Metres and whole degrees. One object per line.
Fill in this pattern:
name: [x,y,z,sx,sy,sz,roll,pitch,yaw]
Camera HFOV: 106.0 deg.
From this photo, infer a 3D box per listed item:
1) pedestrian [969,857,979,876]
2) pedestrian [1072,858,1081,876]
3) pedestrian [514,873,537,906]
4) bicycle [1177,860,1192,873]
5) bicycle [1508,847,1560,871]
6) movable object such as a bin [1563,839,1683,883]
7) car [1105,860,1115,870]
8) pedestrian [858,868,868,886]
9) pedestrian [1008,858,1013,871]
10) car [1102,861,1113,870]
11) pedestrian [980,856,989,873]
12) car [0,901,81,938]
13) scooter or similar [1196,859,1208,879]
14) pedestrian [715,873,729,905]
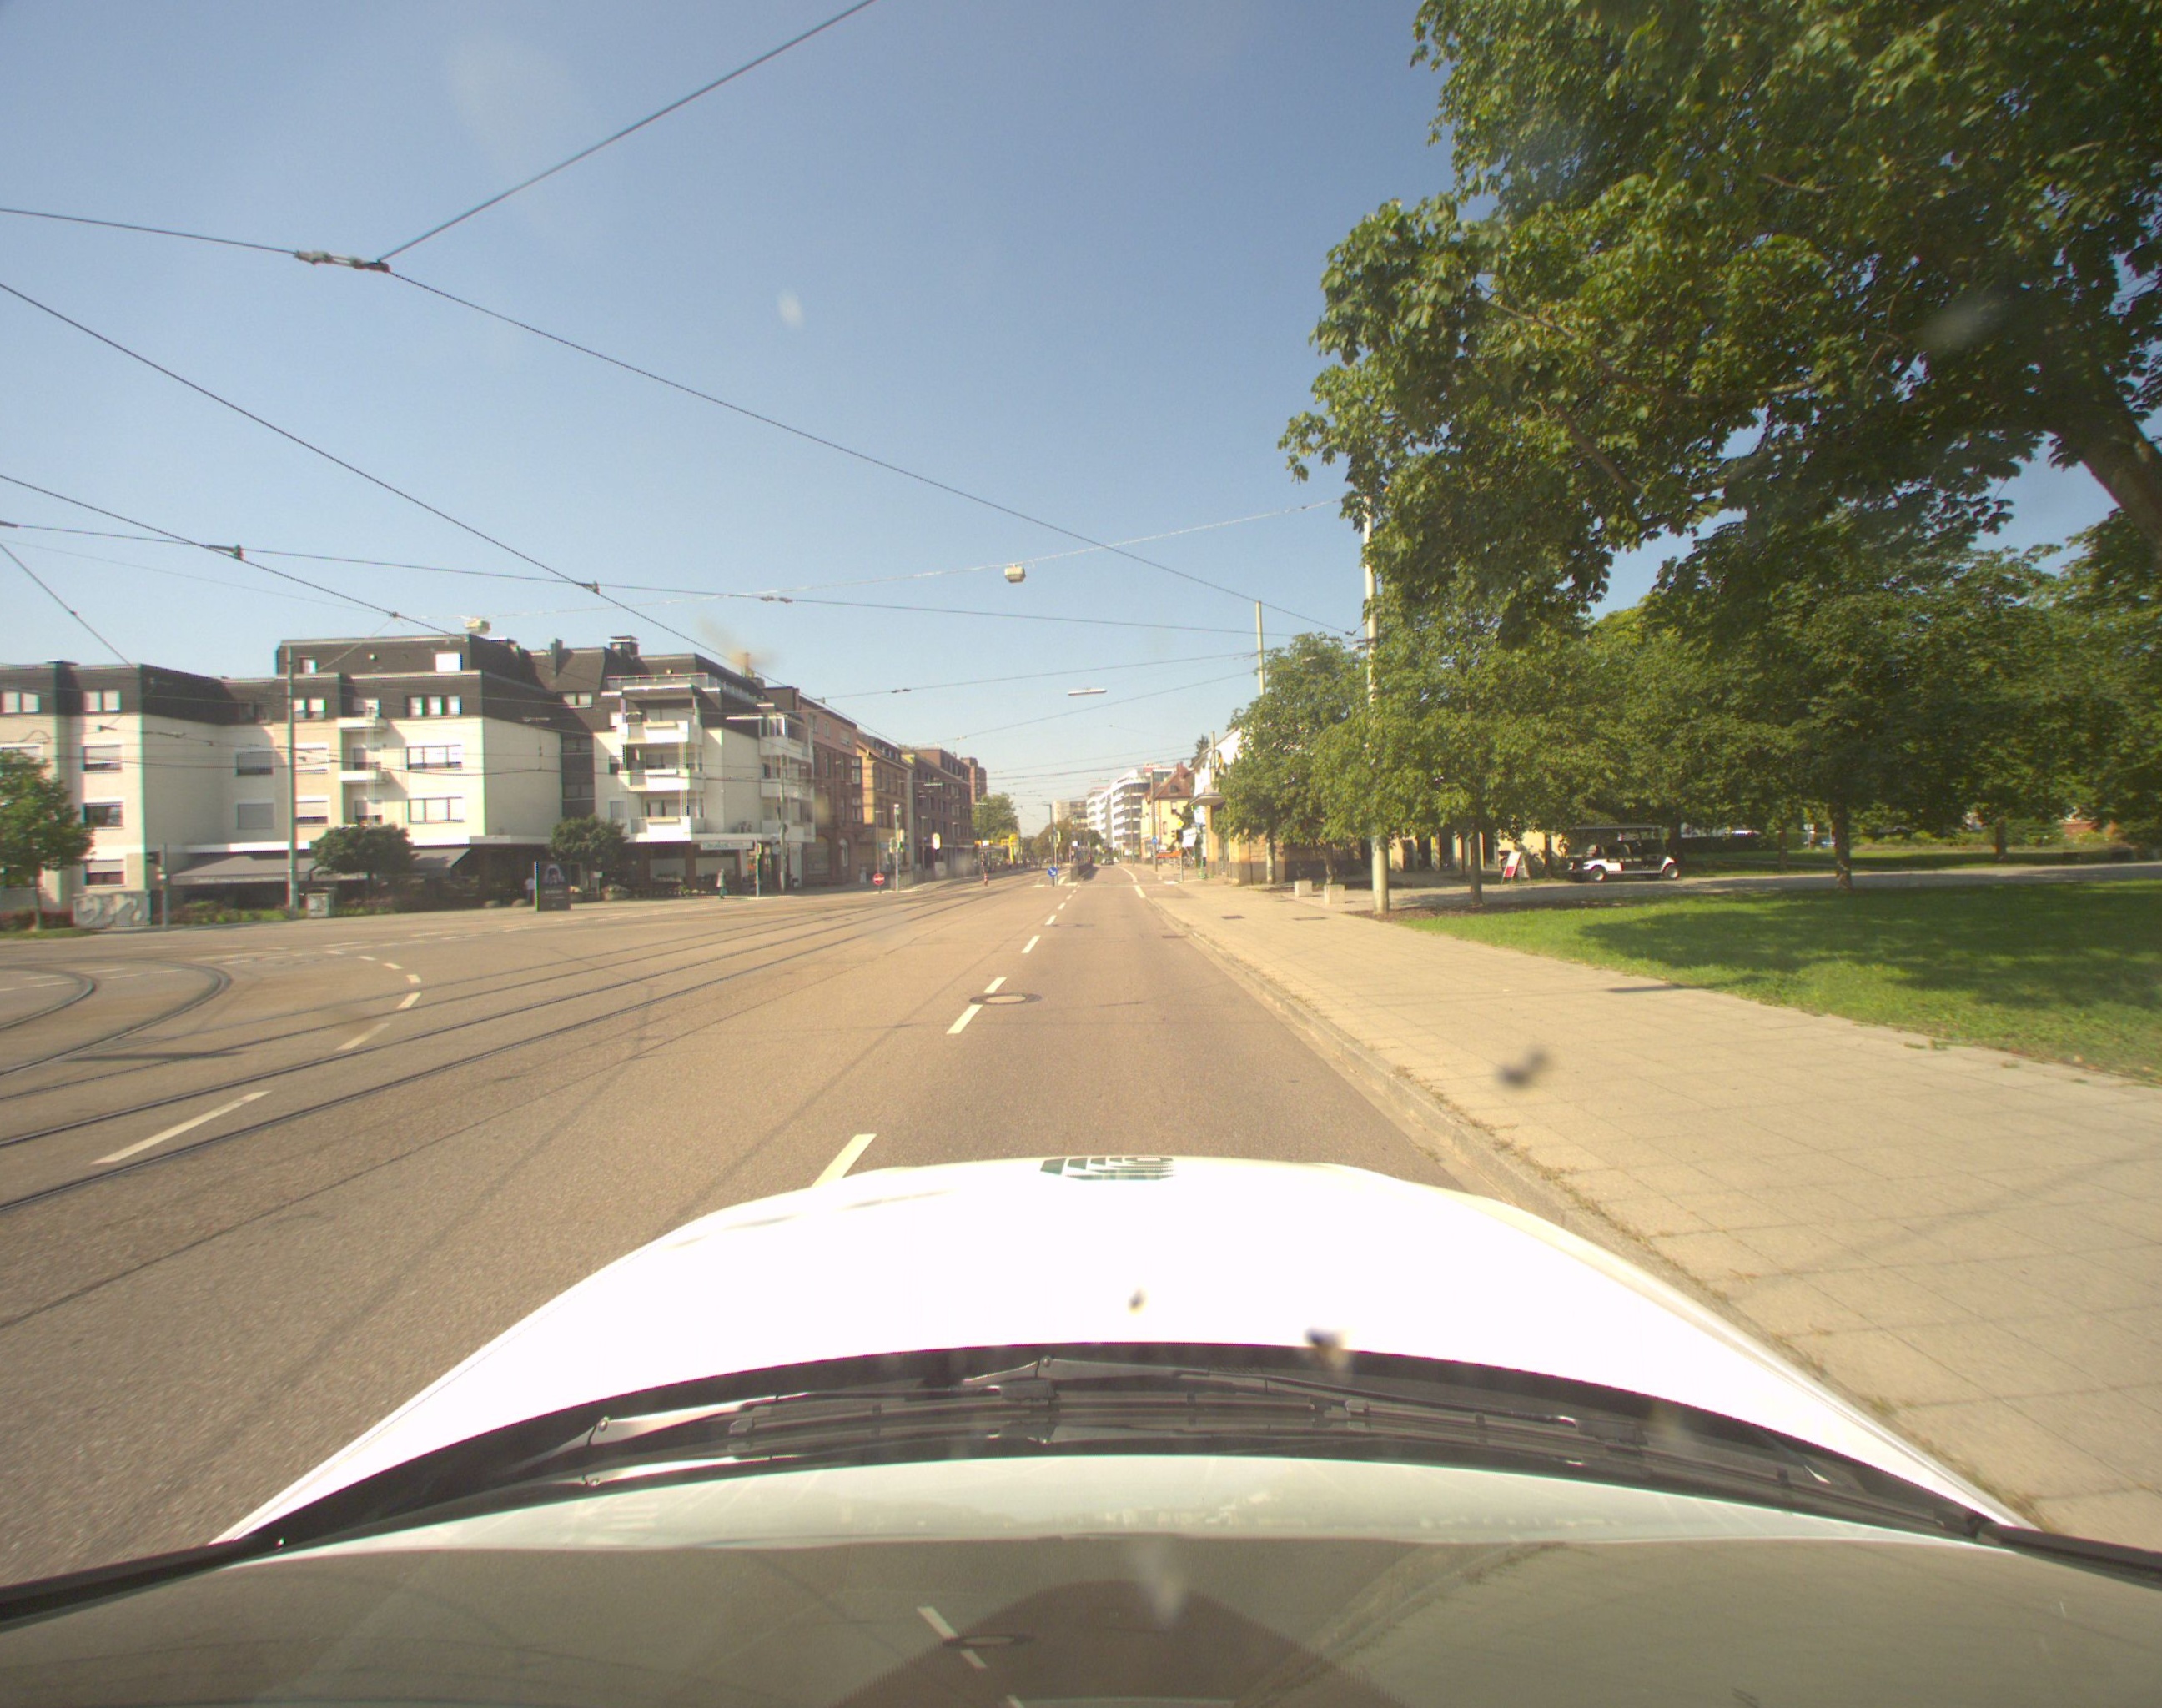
pedestrian: [-10.237,1.213,78.127,0.705,1.723,0.799,-4,-1,2]
pedestrian: [-0.413,1.318,80.245,0.717,1.703,0.885,-4,-1,3]
pedestrian: [-30.174,1.909,44.239,0.677,1.741,0.698,-4,-1,3]
bicycle: [10.043,1.190,78.966,0.730,1.132,2.834,-5,-1,-5]
bicycle: [18.773,0.208,33.789,1.897,0.980,0.427,-1,-1,1]
movable object such as a bin: [18.065,0.232,27.207,3.095,1.298,1.301,-2,-1,1]
car: [6.024,2.332,169.012,2.003,1.859,4.003,-4,-1,3]
pedestrian: [-18.366,1.945,68.683,0.479,1.560,0.890,-1,-2,13]
pedestrian: [-8.695,1.288,100.355,0.531,1.530,0.700,-4,-1,-4]
car: [5.679,2.456,175.136,2.003,1.859,4.003,-4,-1,3]
pedestrian: [-10.100,1.106,84.861,0.705,1.747,0.799,-4,-1,2]
car: [-47.552,2.901,36.082,4.094,1.507,1.930,-1,-1,1]
scooter or similar: [7.086,0.861,47.724,0.521,1.133,1.512,-4,-1,3]
pedestrian: [-20.485,1.985,46.457,0.602,1.745,0.560,-3,-1,-32]
